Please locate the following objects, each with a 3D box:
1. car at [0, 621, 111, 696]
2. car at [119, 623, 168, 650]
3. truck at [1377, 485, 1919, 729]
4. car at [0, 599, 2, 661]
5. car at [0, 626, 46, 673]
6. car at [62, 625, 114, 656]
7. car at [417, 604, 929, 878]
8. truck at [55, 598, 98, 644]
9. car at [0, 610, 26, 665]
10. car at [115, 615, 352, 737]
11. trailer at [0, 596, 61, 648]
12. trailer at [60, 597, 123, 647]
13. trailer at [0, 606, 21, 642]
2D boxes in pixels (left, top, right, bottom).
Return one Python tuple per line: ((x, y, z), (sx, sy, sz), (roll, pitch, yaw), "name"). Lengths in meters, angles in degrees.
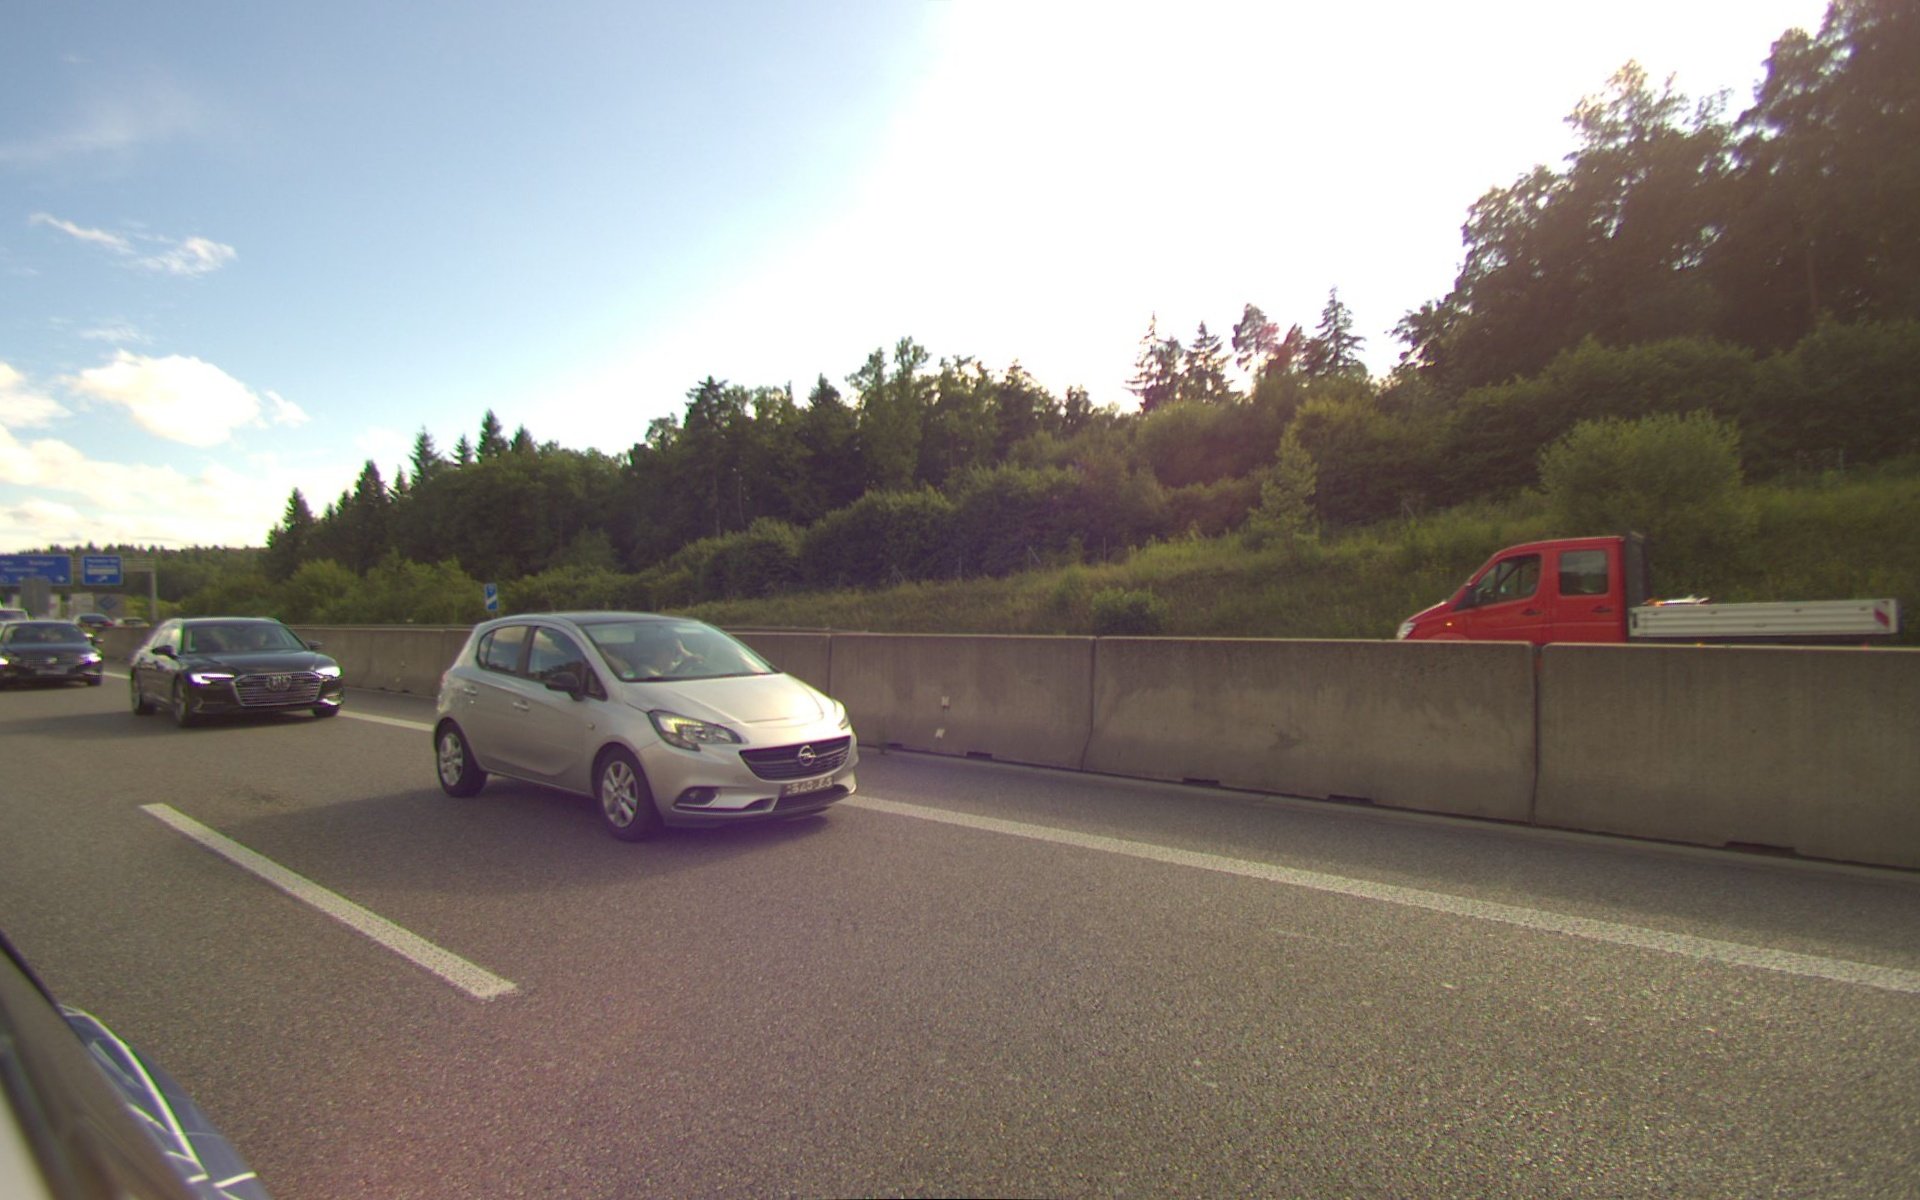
((-20.331, 1.228, 22.391), (4.569, 1.489, 1.890), (-1, -1, 44), "car")
((-56.674, 2.514, 70.224), (4.622, 1.823, 1.833), (-1, -1, 41), "car")
((9.810, 0.131, 14.800), (6.427, 2.876, 2.398), (-1, -1, 41), "truck")
((-42.532, 1.275, 43.085), (5.859, 2.592, 2.027), (-1, -2, 42), "car")
((-31.411, 1.584, 33.145), (3.992, 1.442, 1.786), (-1, -1, 42), "car")
((-54.736, 2.521, 63.485), (4.622, 1.823, 1.833), (-1, -1, 41), "car")
((-2.288, 0.811, 7.467), (4.039, 1.477, 1.729), (-2, -2, 41), "car")
((-96.249, 2.233, 110.253), (4.763, 4.895, 2.901), (-1, 0, 41), "truck")
((-36.453, 1.393, 37.718), (4.846, 1.980, 1.922), (-1, -1, 42), "car")
((-10.814, 0.996, 14.912), (4.851, 1.483, 1.862), (-1, -1, 42), "car")
((-96.887, 2.244, 105.359), (13.826, 5.112, 3.056), (-1, 0, 41), "trailer")
((-90.413, 2.196, 105.226), (14.645, 4.866, 2.897), (-1, 0, 41), "trailer")
((-149.782, 3.695, 158.111), (13.827, 5.320, 3.011), (-1, 0, 41), "trailer")
